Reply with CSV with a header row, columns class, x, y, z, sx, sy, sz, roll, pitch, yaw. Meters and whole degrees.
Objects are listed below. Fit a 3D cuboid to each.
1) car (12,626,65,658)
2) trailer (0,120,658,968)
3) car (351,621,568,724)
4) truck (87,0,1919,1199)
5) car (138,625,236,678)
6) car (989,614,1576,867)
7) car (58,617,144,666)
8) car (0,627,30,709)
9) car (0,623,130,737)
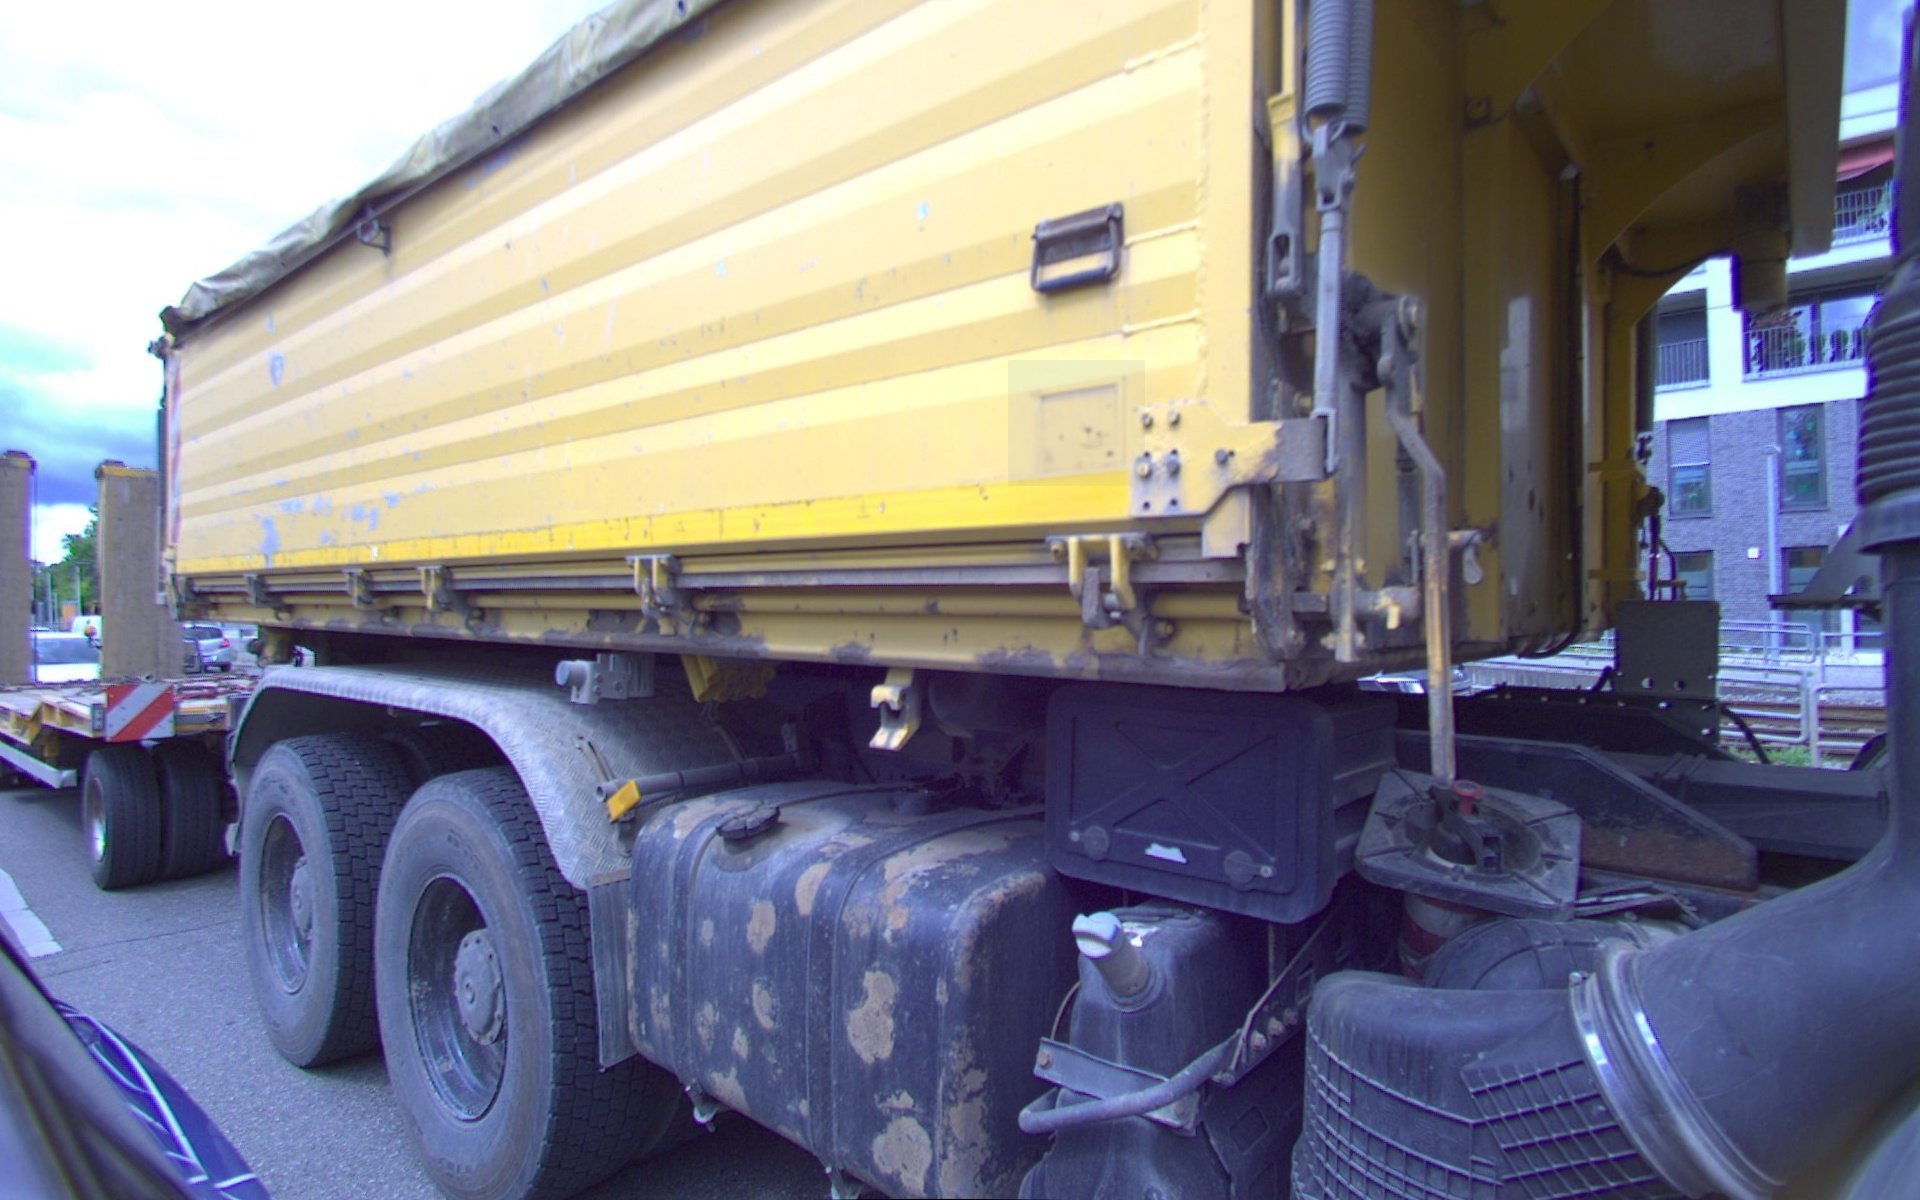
class,x,y,z,sx,sy,sz,roll,pitch,yaw
car,-47.451,2.150,52.083,3.552,1.509,1.623,-2,-1,41
trailer,-6.859,-0.140,8.851,10.909,3.548,2.678,-2,-1,41
car,-8.347,1.120,16.709,4.277,1.452,1.743,-2,-1,42
truck,0.158,-0.037,2.683,7.775,3.026,2.692,-1,0,41
car,-23.349,1.532,30.520,3.564,1.469,1.683,-2,-1,41
car,2.395,0.900,7.918,4.034,1.480,1.762,-2,-1,35
car,-33.361,1.588,39.268,4.861,1.785,1.863,-2,-1,41
car,-19.601,1.307,19.796,3.998,1.490,1.671,-1,0,41
car,-14.203,1.130,15.499,3.998,1.490,1.671,-1,0,41
